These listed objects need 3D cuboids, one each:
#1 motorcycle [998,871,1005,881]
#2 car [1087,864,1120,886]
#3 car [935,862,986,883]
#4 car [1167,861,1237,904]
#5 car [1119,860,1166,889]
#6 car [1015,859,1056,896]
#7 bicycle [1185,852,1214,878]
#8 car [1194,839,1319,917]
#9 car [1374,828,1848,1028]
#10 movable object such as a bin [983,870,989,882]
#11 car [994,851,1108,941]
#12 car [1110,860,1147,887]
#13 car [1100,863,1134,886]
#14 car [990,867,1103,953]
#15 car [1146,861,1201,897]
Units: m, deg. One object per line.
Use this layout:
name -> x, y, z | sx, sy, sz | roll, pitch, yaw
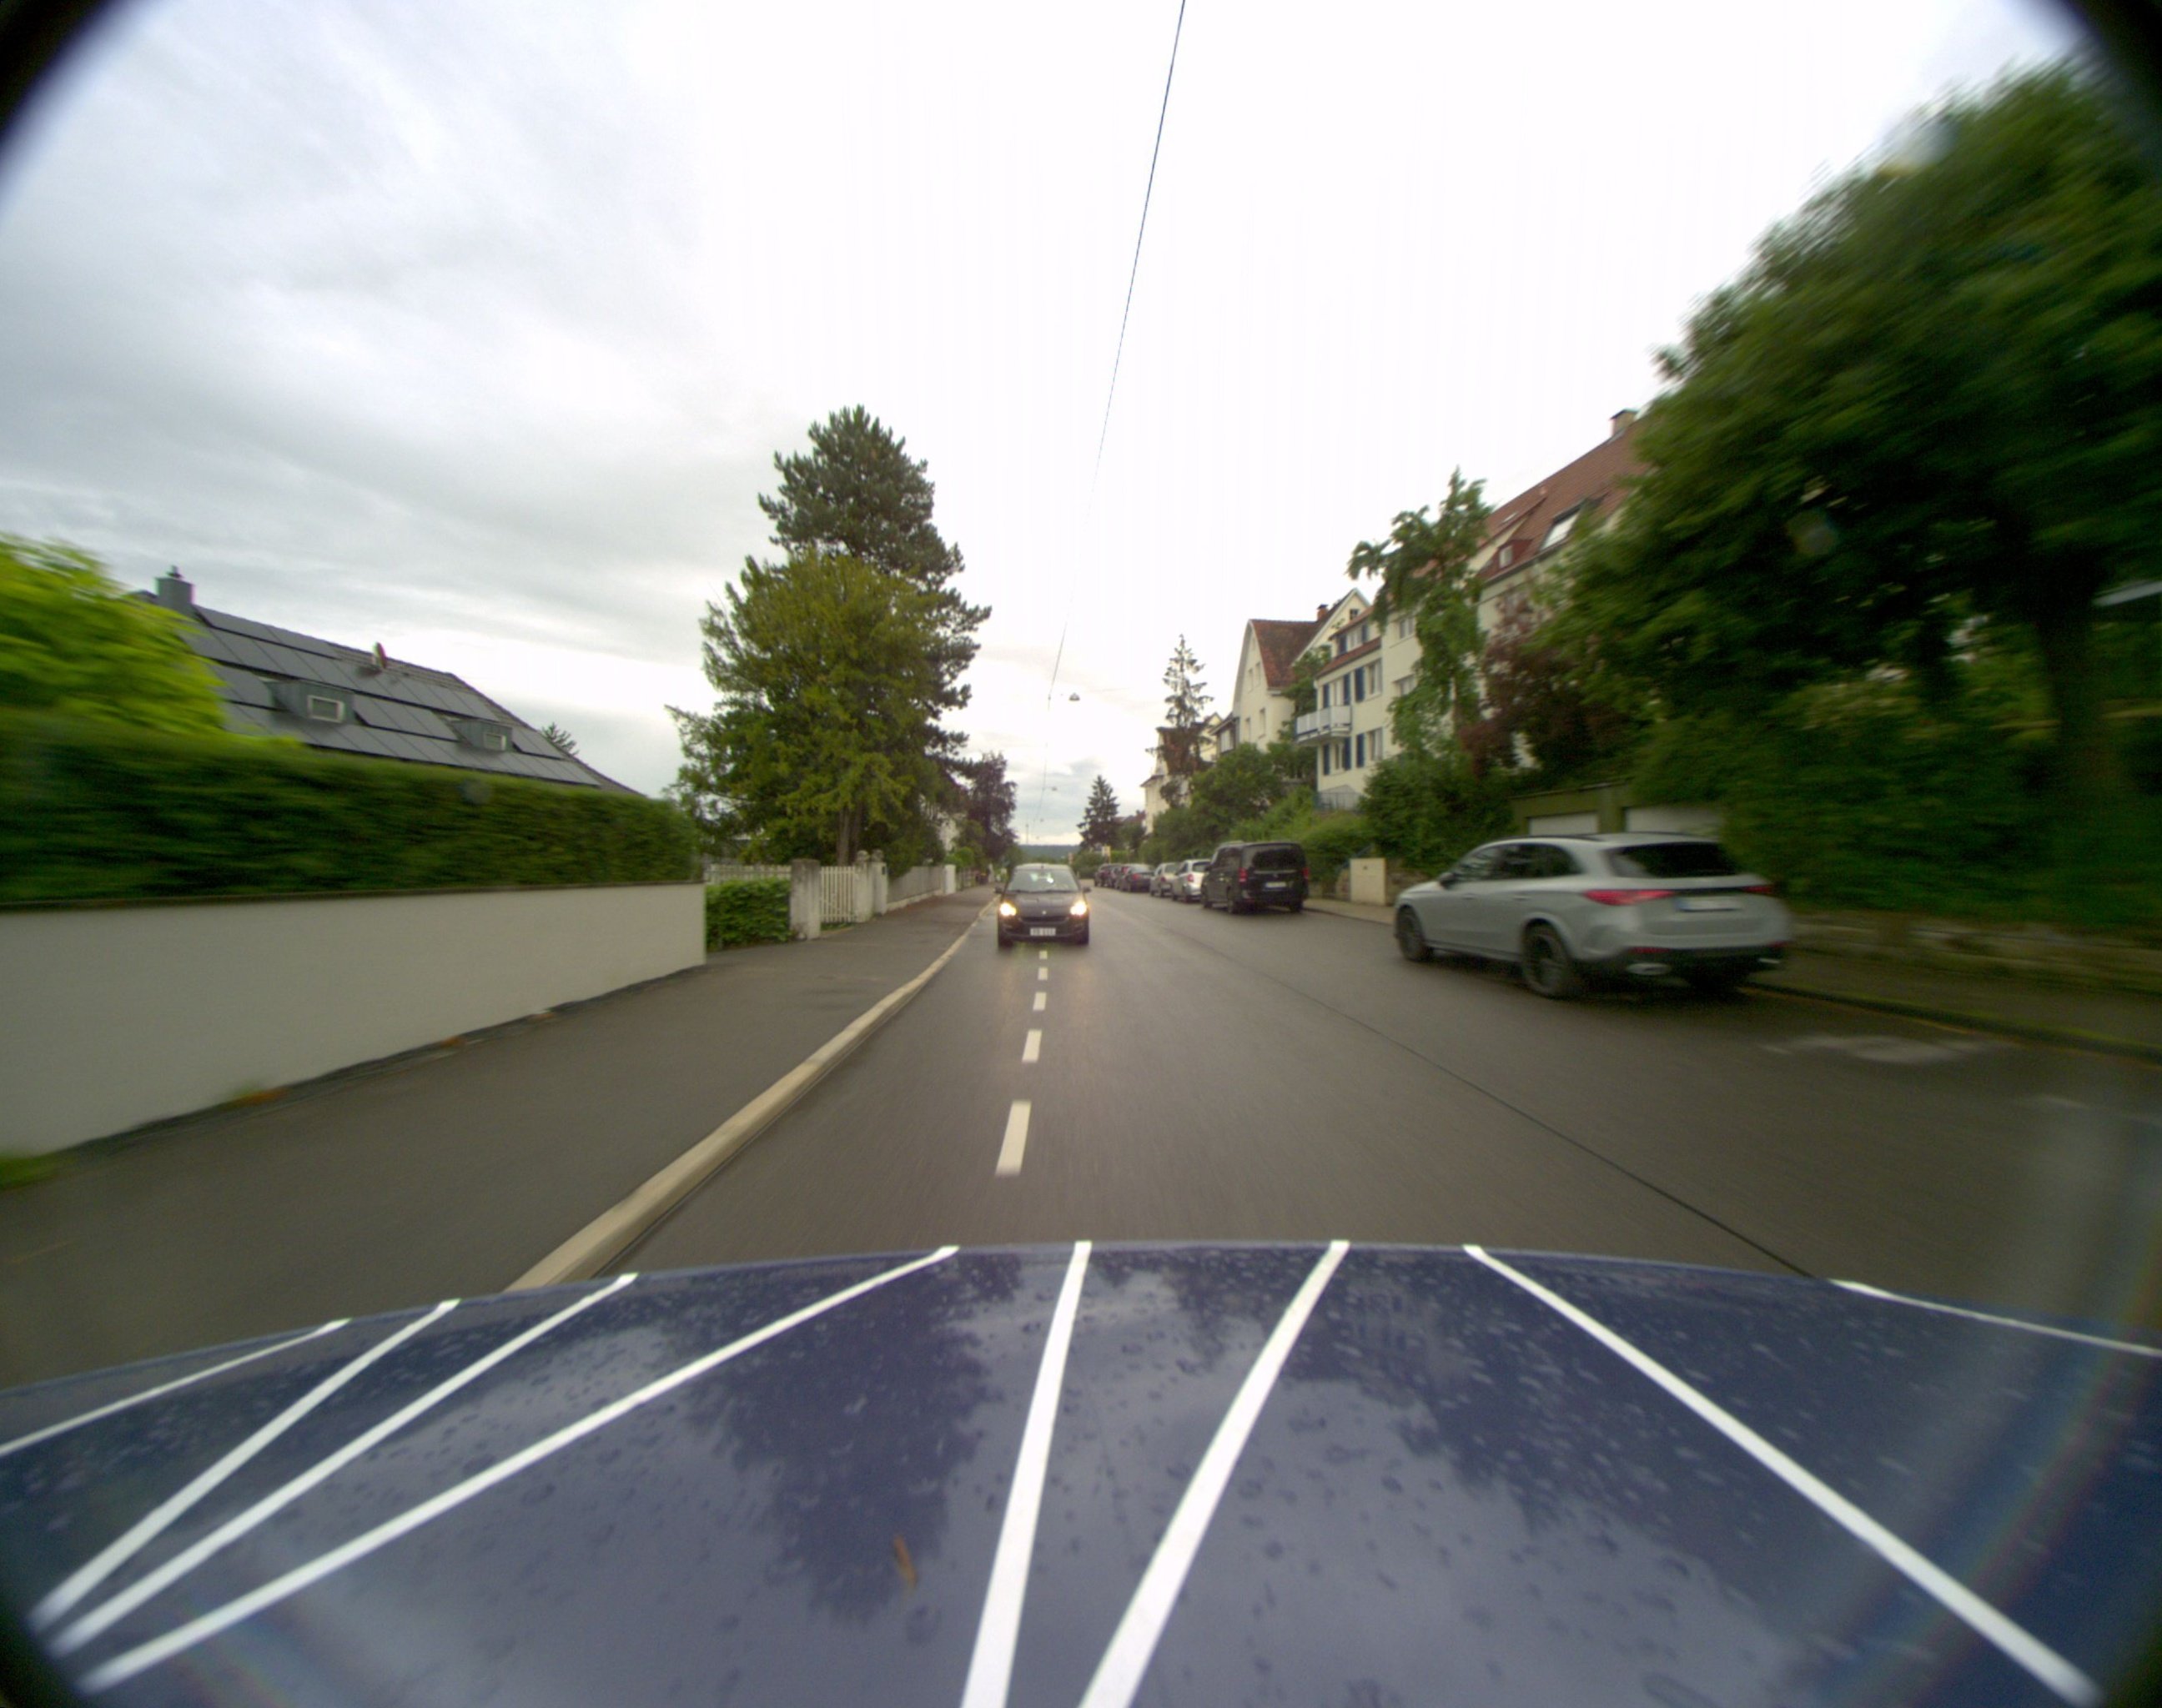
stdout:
motorcycle -> -10.839, 2.998, 103.925 | 0.694, 1.218, 2.154 | 5, -2, 0
car -> 1.683, 1.590, 58.533 | 1.899, 1.612, 4.376 | -1, -1, -7
car -> -9.909, 1.528, 62.692 | 3.999, 1.629, 1.918 | -1, -2, -5
car -> 4.338, 0.983, 27.712 | 1.699, 1.438, 3.812 | -1, 0, -4
car -> 3.246, 1.126, 40.779 | 1.761, 1.438, 4.416 | -1, -2, -5
car -> -2.250, 1.148, 37.841 | 1.866, 1.704, 3.999 | -2, -1, -3
bicycle -> 6.332, 0.604, 40.642 | 1.007, 1.293, 2.291 | -1, -2, -4
car -> 4.782, 0.646, 21.667 | 1.999, 1.867, 5.355 | -2, -1, -3
car -> 5.430, 0.651, 8.832 | 1.999, 1.571, 4.761 | -4, -1, -2
movable object such as a bin -> -8.119, 1.895, 65.074 | 0.495, 0.950, 0.503 | -1, -2, -6
car -> -0.461, 0.817, 15.064 | 1.695, 1.481, 3.943 | -3, -3, 5
car -> 2.873, 1.208, 46.979 | 1.702, 1.532, 3.812 | -1, -1, -5
car -> 2.439, 1.449, 52.826 | 1.899, 1.438, 3.814 | -1, -2, -4
car -> -0.542, 1.011, 15.092 | 1.710, 1.414, 4.002 | -2, -1, 5
car -> 3.965, 1.118, 33.098 | 1.651, 1.438, 3.628 | -1, -2, -5
